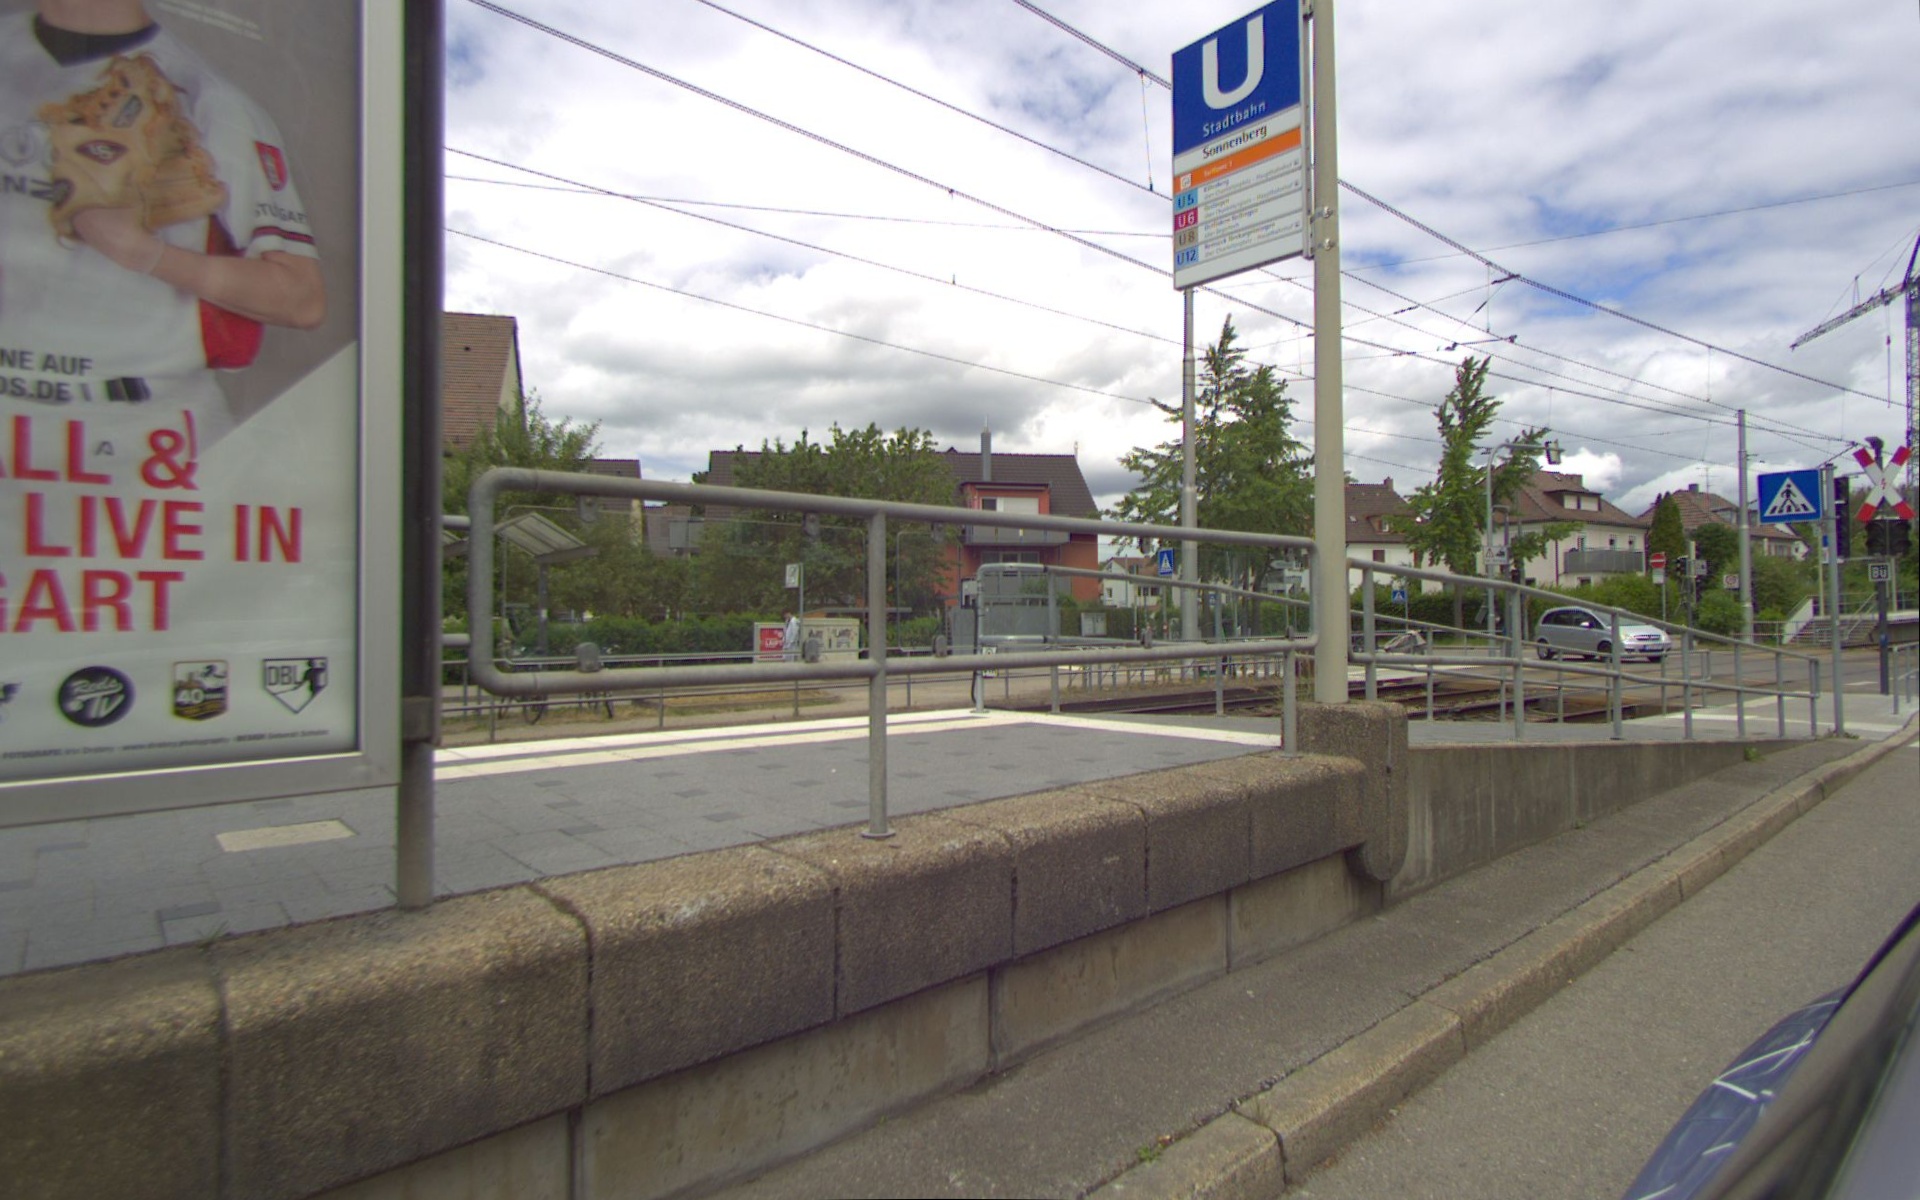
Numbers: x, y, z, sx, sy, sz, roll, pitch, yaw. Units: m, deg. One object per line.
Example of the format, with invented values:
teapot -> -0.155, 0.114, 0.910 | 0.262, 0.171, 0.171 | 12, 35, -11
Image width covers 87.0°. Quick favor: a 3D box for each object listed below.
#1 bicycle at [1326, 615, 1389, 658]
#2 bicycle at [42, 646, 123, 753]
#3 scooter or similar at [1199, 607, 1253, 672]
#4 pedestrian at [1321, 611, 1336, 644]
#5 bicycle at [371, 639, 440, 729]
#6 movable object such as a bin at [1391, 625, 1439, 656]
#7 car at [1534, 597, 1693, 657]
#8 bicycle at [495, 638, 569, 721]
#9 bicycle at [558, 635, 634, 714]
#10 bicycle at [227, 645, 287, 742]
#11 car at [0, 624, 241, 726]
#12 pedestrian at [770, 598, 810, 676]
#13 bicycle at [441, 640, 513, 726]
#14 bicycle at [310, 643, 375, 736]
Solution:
bicycle -> 11.145, 1.002, 28.369 | 1.657, 1.170, 0.467 | 0, -1, -15
bicycle -> -9.716, 1.060, 11.248 | 0.546, 1.055, 1.769 | 0, -1, -37
scooter or similar -> 5.655, 0.827, 21.532 | 0.480, 1.333, 1.051 | 2, -2, -35
pedestrian -> 18.989, 1.415, 52.184 | 0.592, 1.640, 0.672 | -4, -2, 24
bicycle -> -7.245, 1.058, 13.183 | 0.546, 1.055, 1.769 | 0, -1, -37
movable object such as a bin -> 12.769, 1.133, 28.399 | 1.072, 0.835, 0.580 | -1, -1, -11
car -> 18.837, 0.770, 29.408 | 1.692, 1.588, 3.931 | -1, -1, -7
bicycle -> -5.974, 1.070, 14.066 | 0.546, 1.055, 1.769 | 0, -1, -37
bicycle -> -5.271, 1.041, 14.607 | 0.546, 1.055, 1.769 | 0, -1, -37
bicycle -> -8.521, 1.089, 12.246 | 0.546, 1.055, 1.769 | 0, -1, -37
car -> -14.605, 1.188, 16.690 | 4.334, 1.505, 1.822 | 0, -1, -31
pedestrian -> -4.323, 0.928, 25.820 | 0.620, 1.939, 0.822 | -1, -2, 29
bicycle -> -6.534, 1.081, 13.636 | 0.546, 1.055, 1.769 | 0, -1, -37
bicycle -> -7.798, 1.088, 12.755 | 0.546, 1.055, 1.769 | 0, -1, -37
